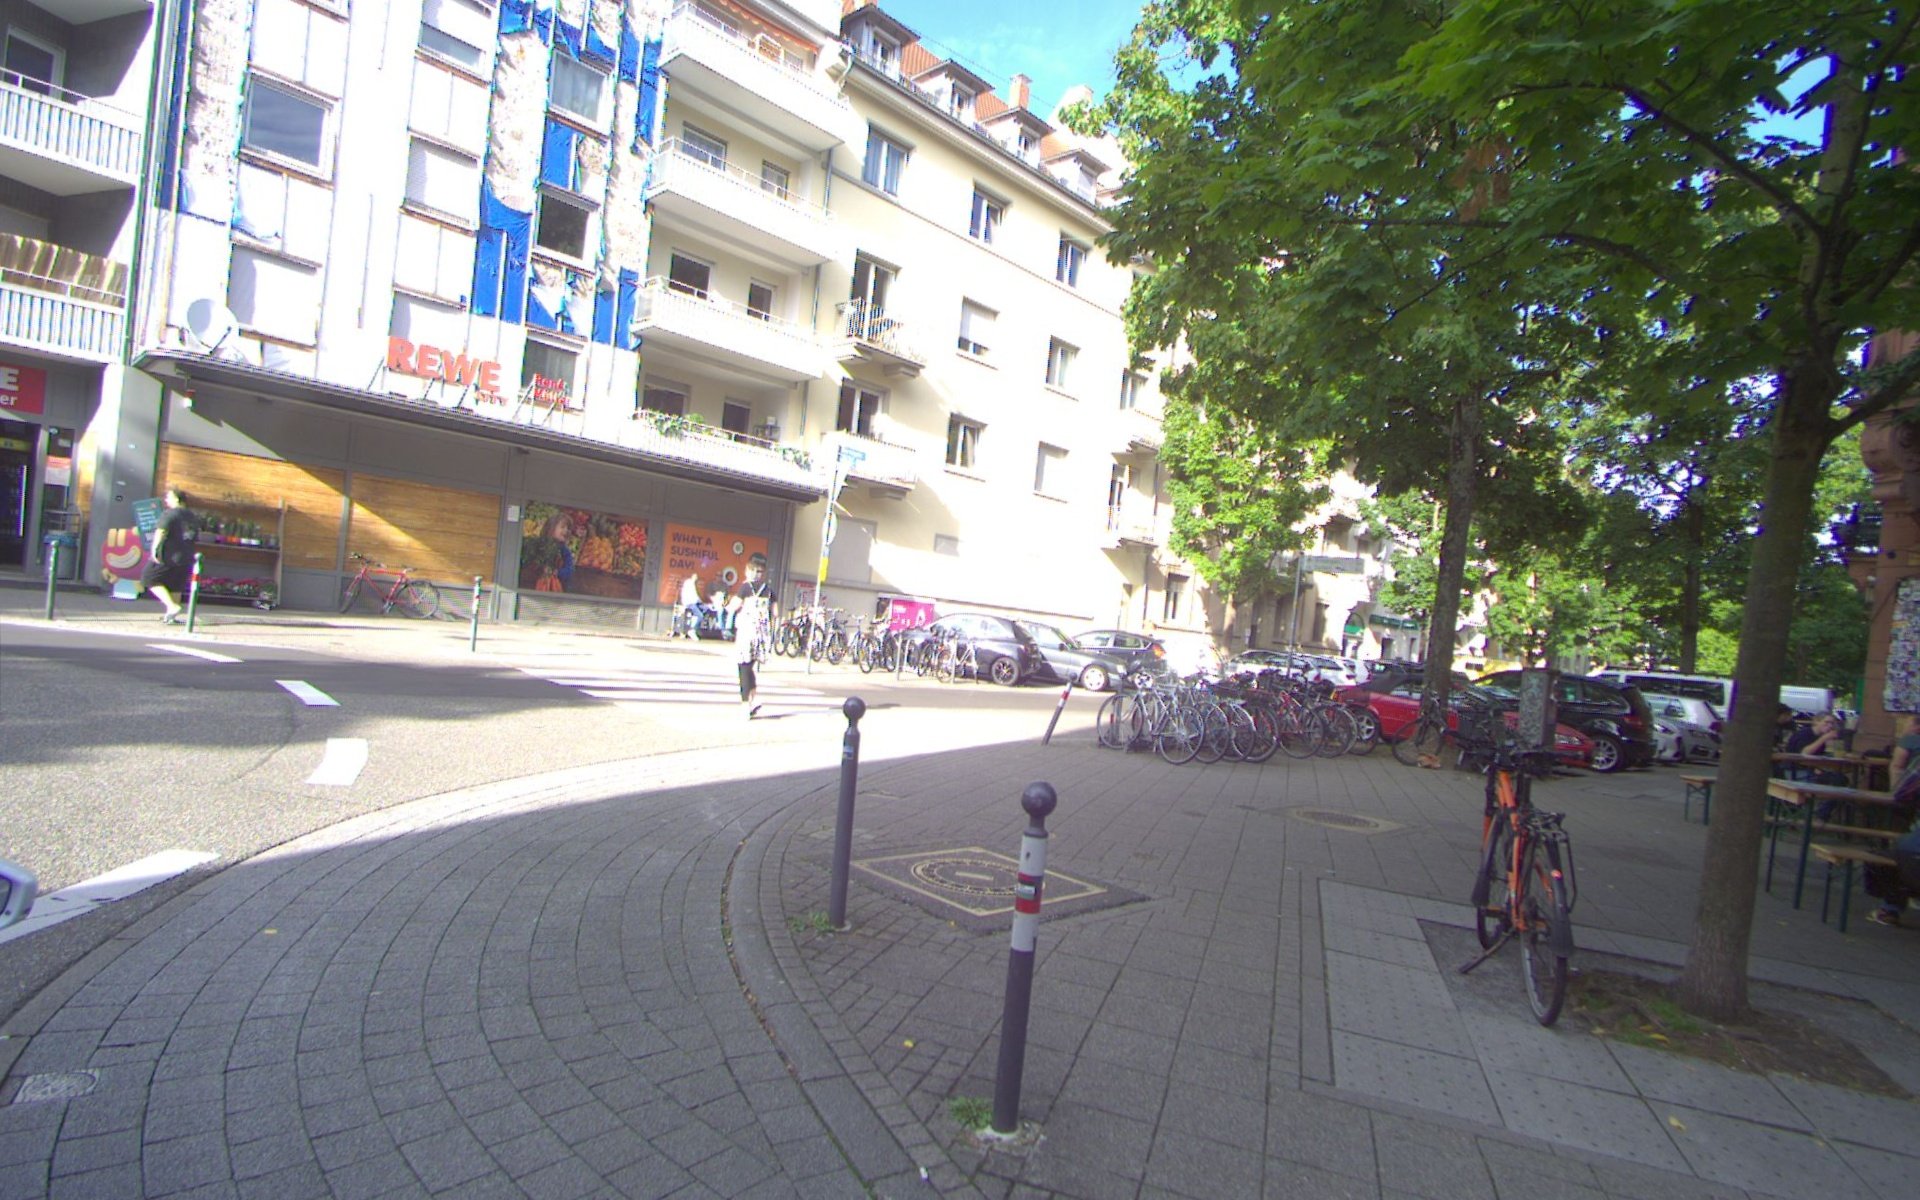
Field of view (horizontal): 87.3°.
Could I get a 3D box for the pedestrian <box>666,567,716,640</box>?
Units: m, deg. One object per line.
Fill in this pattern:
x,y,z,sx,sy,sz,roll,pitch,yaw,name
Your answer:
-5.907,0.079,22.128,0.748,1.498,0.579,5,1,-44,pedestrian

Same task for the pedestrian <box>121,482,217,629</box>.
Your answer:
-10.120,-0.564,12.869,0.763,1.761,0.629,7,1,33,pedestrian

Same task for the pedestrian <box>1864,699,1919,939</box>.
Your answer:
6.108,1.359,6.095,0.538,1.410,0.759,6,1,16,pedestrian

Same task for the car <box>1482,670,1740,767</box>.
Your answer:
14.163,2.518,22.047,4.368,1.388,1.989,6,0,44,car

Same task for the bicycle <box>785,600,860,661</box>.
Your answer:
-2.821,0.650,20.844,0.476,1.155,2.145,7,0,20,bicycle

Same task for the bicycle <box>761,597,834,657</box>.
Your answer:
-3.353,0.575,20.959,0.427,1.155,2.085,7,0,20,bicycle

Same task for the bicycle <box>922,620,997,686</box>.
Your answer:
0.006,1.078,20.189,0.566,1.154,1.558,7,-2,36,bicycle

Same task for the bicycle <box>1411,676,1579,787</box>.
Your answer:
7.001,1.687,13.255,0.424,1.149,1.830,4,2,-40,bicycle

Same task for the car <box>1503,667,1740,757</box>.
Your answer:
15.771,2.623,24.116,4.368,1.433,1.989,6,0,44,car

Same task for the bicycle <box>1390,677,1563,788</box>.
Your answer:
6.603,1.671,12.946,0.563,1.145,1.831,5,-1,-40,bicycle

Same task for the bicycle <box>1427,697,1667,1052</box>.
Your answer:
2.528,1.062,4.541,0.641,1.108,1.929,6,0,25,bicycle

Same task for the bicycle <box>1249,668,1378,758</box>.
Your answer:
4.956,1.572,14.179,1.596,1.024,0.339,6,1,38,bicycle

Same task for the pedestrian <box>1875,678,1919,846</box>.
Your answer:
9.573,1.606,9.801,0.661,1.583,0.620,6,1,-23,pedestrian

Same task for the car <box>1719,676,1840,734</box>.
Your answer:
36.786,4.696,45.212,3.950,2.036,1.990,4,-3,45,car

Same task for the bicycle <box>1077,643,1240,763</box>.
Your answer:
2.260,1.157,11.713,0.426,1.170,1.978,5,-2,-38,bicycle

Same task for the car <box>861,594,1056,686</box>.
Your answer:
0.024,0.882,22.690,3.923,1.529,2.001,6,0,13,car

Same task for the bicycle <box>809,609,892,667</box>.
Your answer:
-2.214,0.784,20.678,0.739,1.045,2.062,7,0,21,bicycle

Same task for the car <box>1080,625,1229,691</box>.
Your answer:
5.584,1.626,28.853,3.923,1.337,2.001,6,0,13,car

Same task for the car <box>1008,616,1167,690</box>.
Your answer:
3.438,1.377,26.816,3.923,1.440,2.001,6,0,12,car

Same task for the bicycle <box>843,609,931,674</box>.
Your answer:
-1.433,0.851,20.292,0.739,1.155,2.325,7,0,21,bicycle

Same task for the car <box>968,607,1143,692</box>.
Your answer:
2.380,1.181,24.601,3.923,1.551,2.001,6,0,12,car

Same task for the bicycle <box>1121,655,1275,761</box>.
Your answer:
2.877,1.294,12.395,0.338,1.066,2.022,5,-1,-37,bicycle

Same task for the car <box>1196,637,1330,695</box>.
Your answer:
9.786,2.111,32.783,3.923,1.348,2.001,6,0,13,car

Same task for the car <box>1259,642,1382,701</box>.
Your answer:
13.086,2.561,36.753,3.924,1.604,2.001,6,0,14,car

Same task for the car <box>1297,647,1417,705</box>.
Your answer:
15.241,2.892,38.840,3.924,1.682,2.001,6,0,14,car

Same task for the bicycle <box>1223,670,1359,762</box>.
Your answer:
4.408,1.524,13.475,1.596,1.024,0.479,4,-1,38,bicycle

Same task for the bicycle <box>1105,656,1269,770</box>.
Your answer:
2.656,1.305,12.012,0.477,1.117,2.008,5,-2,-37,bicycle

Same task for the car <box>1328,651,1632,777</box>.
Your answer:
8.489,1.807,16.636,1.988,1.404,3.950,6,0,-44,car

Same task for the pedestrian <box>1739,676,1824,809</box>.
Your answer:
10.589,1.823,12.967,0.696,1.583,0.634,6,1,-43,pedestrian

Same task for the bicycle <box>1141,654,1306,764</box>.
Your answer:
3.247,1.322,12.596,0.477,1.103,2.065,5,-1,-37,bicycle

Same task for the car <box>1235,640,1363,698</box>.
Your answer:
11.625,2.353,34.799,3.924,1.460,2.001,6,0,14,car

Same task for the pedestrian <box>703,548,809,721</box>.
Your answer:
-2.271,0.377,11.150,0.775,1.802,0.786,5,1,-31,pedestrian

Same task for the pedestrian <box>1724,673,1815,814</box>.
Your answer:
9.887,1.735,12.287,0.696,1.583,0.628,6,1,-42,pedestrian

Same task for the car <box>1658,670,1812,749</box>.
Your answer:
27.550,3.837,35.950,3.934,2.174,1.996,6,0,32,car

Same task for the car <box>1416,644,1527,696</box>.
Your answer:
23.523,3.226,46.395,4.040,1.857,2.003,6,-2,11,car

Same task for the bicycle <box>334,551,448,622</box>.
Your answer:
-10.104,-0.228,17.918,1.666,1.063,0.454,7,0,-30,bicycle

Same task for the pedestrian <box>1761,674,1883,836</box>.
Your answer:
9.135,1.635,10.676,0.682,1.583,0.601,6,1,-21,pedestrian

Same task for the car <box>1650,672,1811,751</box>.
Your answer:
25.839,3.690,33.949,3.934,2.039,1.996,6,0,32,car

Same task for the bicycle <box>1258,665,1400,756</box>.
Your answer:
5.327,1.574,14.591,1.824,1.094,0.425,4,-1,39,bicycle

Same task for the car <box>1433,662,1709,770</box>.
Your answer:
12.270,2.272,20.387,4.368,1.450,1.989,6,0,44,car

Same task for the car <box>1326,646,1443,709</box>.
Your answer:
17.113,3.093,40.724,3.924,1.950,2.001,6,0,14,car

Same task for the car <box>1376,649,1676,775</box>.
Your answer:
10.325,1.974,18.563,4.368,1.571,1.989,6,0,44,car

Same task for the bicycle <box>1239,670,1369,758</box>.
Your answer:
4.707,1.543,13.819,1.606,1.024,0.339,4,-1,38,bicycle

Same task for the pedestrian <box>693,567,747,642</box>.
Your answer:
-5.441,0.104,22.802,0.745,1.568,0.722,8,-1,-43,pedestrian

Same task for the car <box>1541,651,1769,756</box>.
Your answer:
17.596,2.556,25.599,4.368,1.973,1.989,6,0,44,car

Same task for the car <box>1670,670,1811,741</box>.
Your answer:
29.296,3.937,37.919,3.938,2.039,1.993,6,0,36,car
